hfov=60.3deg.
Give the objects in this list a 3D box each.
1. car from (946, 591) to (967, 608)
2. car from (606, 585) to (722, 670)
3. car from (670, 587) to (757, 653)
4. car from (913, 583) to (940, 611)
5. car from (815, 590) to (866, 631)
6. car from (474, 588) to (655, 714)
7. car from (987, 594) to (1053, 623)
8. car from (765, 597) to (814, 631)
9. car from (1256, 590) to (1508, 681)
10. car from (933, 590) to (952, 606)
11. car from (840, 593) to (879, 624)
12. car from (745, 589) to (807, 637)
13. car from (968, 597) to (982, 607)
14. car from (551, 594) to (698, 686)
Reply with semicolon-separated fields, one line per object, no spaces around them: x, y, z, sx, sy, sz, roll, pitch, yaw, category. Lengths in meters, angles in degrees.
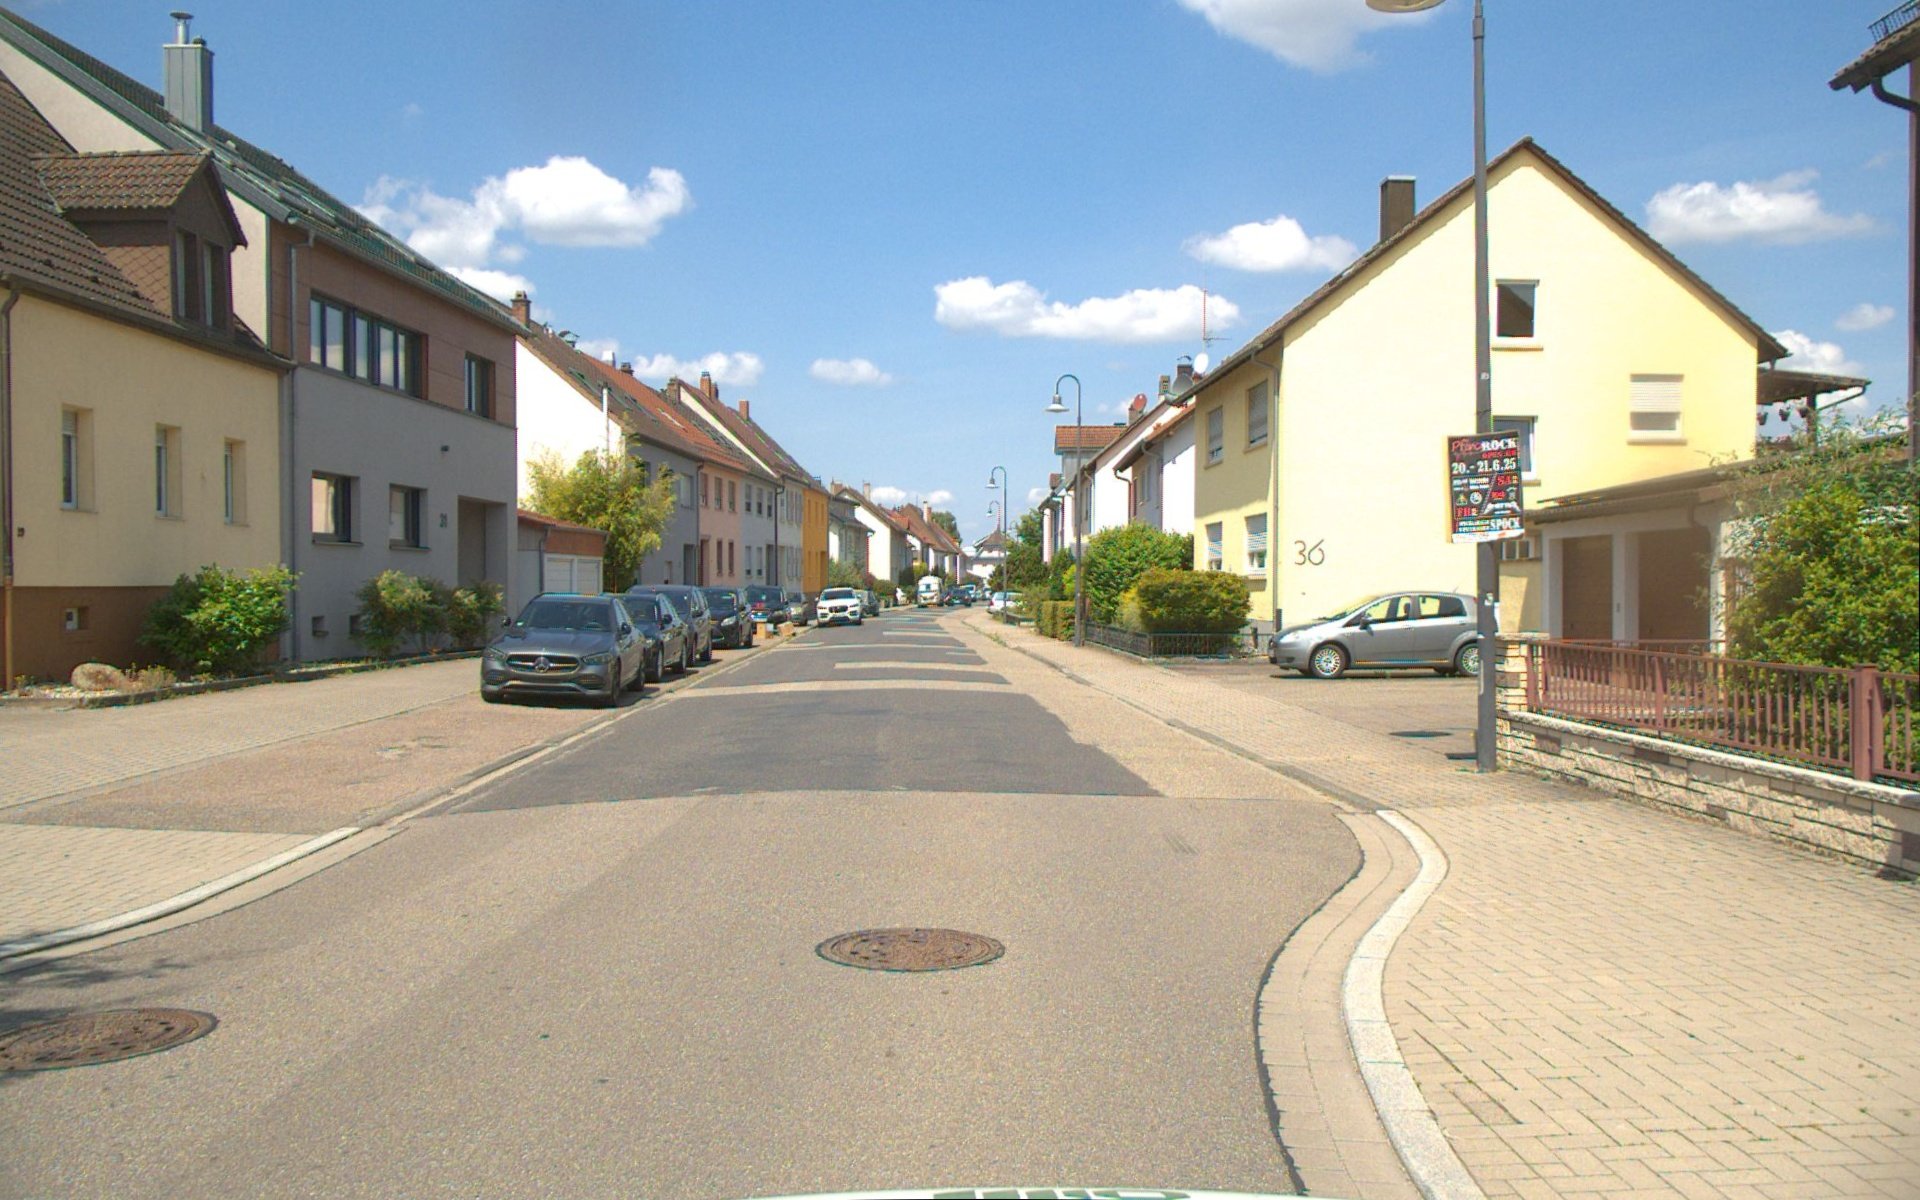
-0.265;-0.018;142.866;1.656;1.365;3.772;1;0;2;car
-6.197;0.539;35.060;1.743;1.637;3.999;2;0;-1;car
-6.617;0.504;44.755;1.743;1.637;3.999;2;0;-1;car
-2.878;-0.268;142.834;2.002;2.352;3.772;1;-1;2;car
-5.230;0.449;72.711;1.812;1.688;4.000;2;0;1;car
-5.568;0.662;23.774;1.781;1.458;4.137;4;1;-4;car
3.198;0.454;88.792;3.452;1.490;1.628;1;-1;-1;car
-7.367;0.579;71.670;1.638;1.359;3.723;2;0;1;car
7.267;0.586;28.728;3.906;1.499;1.746;0;0;-1;car
-1.724;-0.197;164.732;1.656;1.530;3.772;1;-1;2;car
-5.699;0.464;94.110;1.812;1.688;4.000;2;0;1;car
-6.582;0.446;59.519;1.774;1.637;3.999;2;0;-1;car
1.938;0.243;214.788;1.656;1.152;3.772;1;0;2;car
-5.876;0.662;29.396;1.779;1.458;4.138;2;0;-1;car
